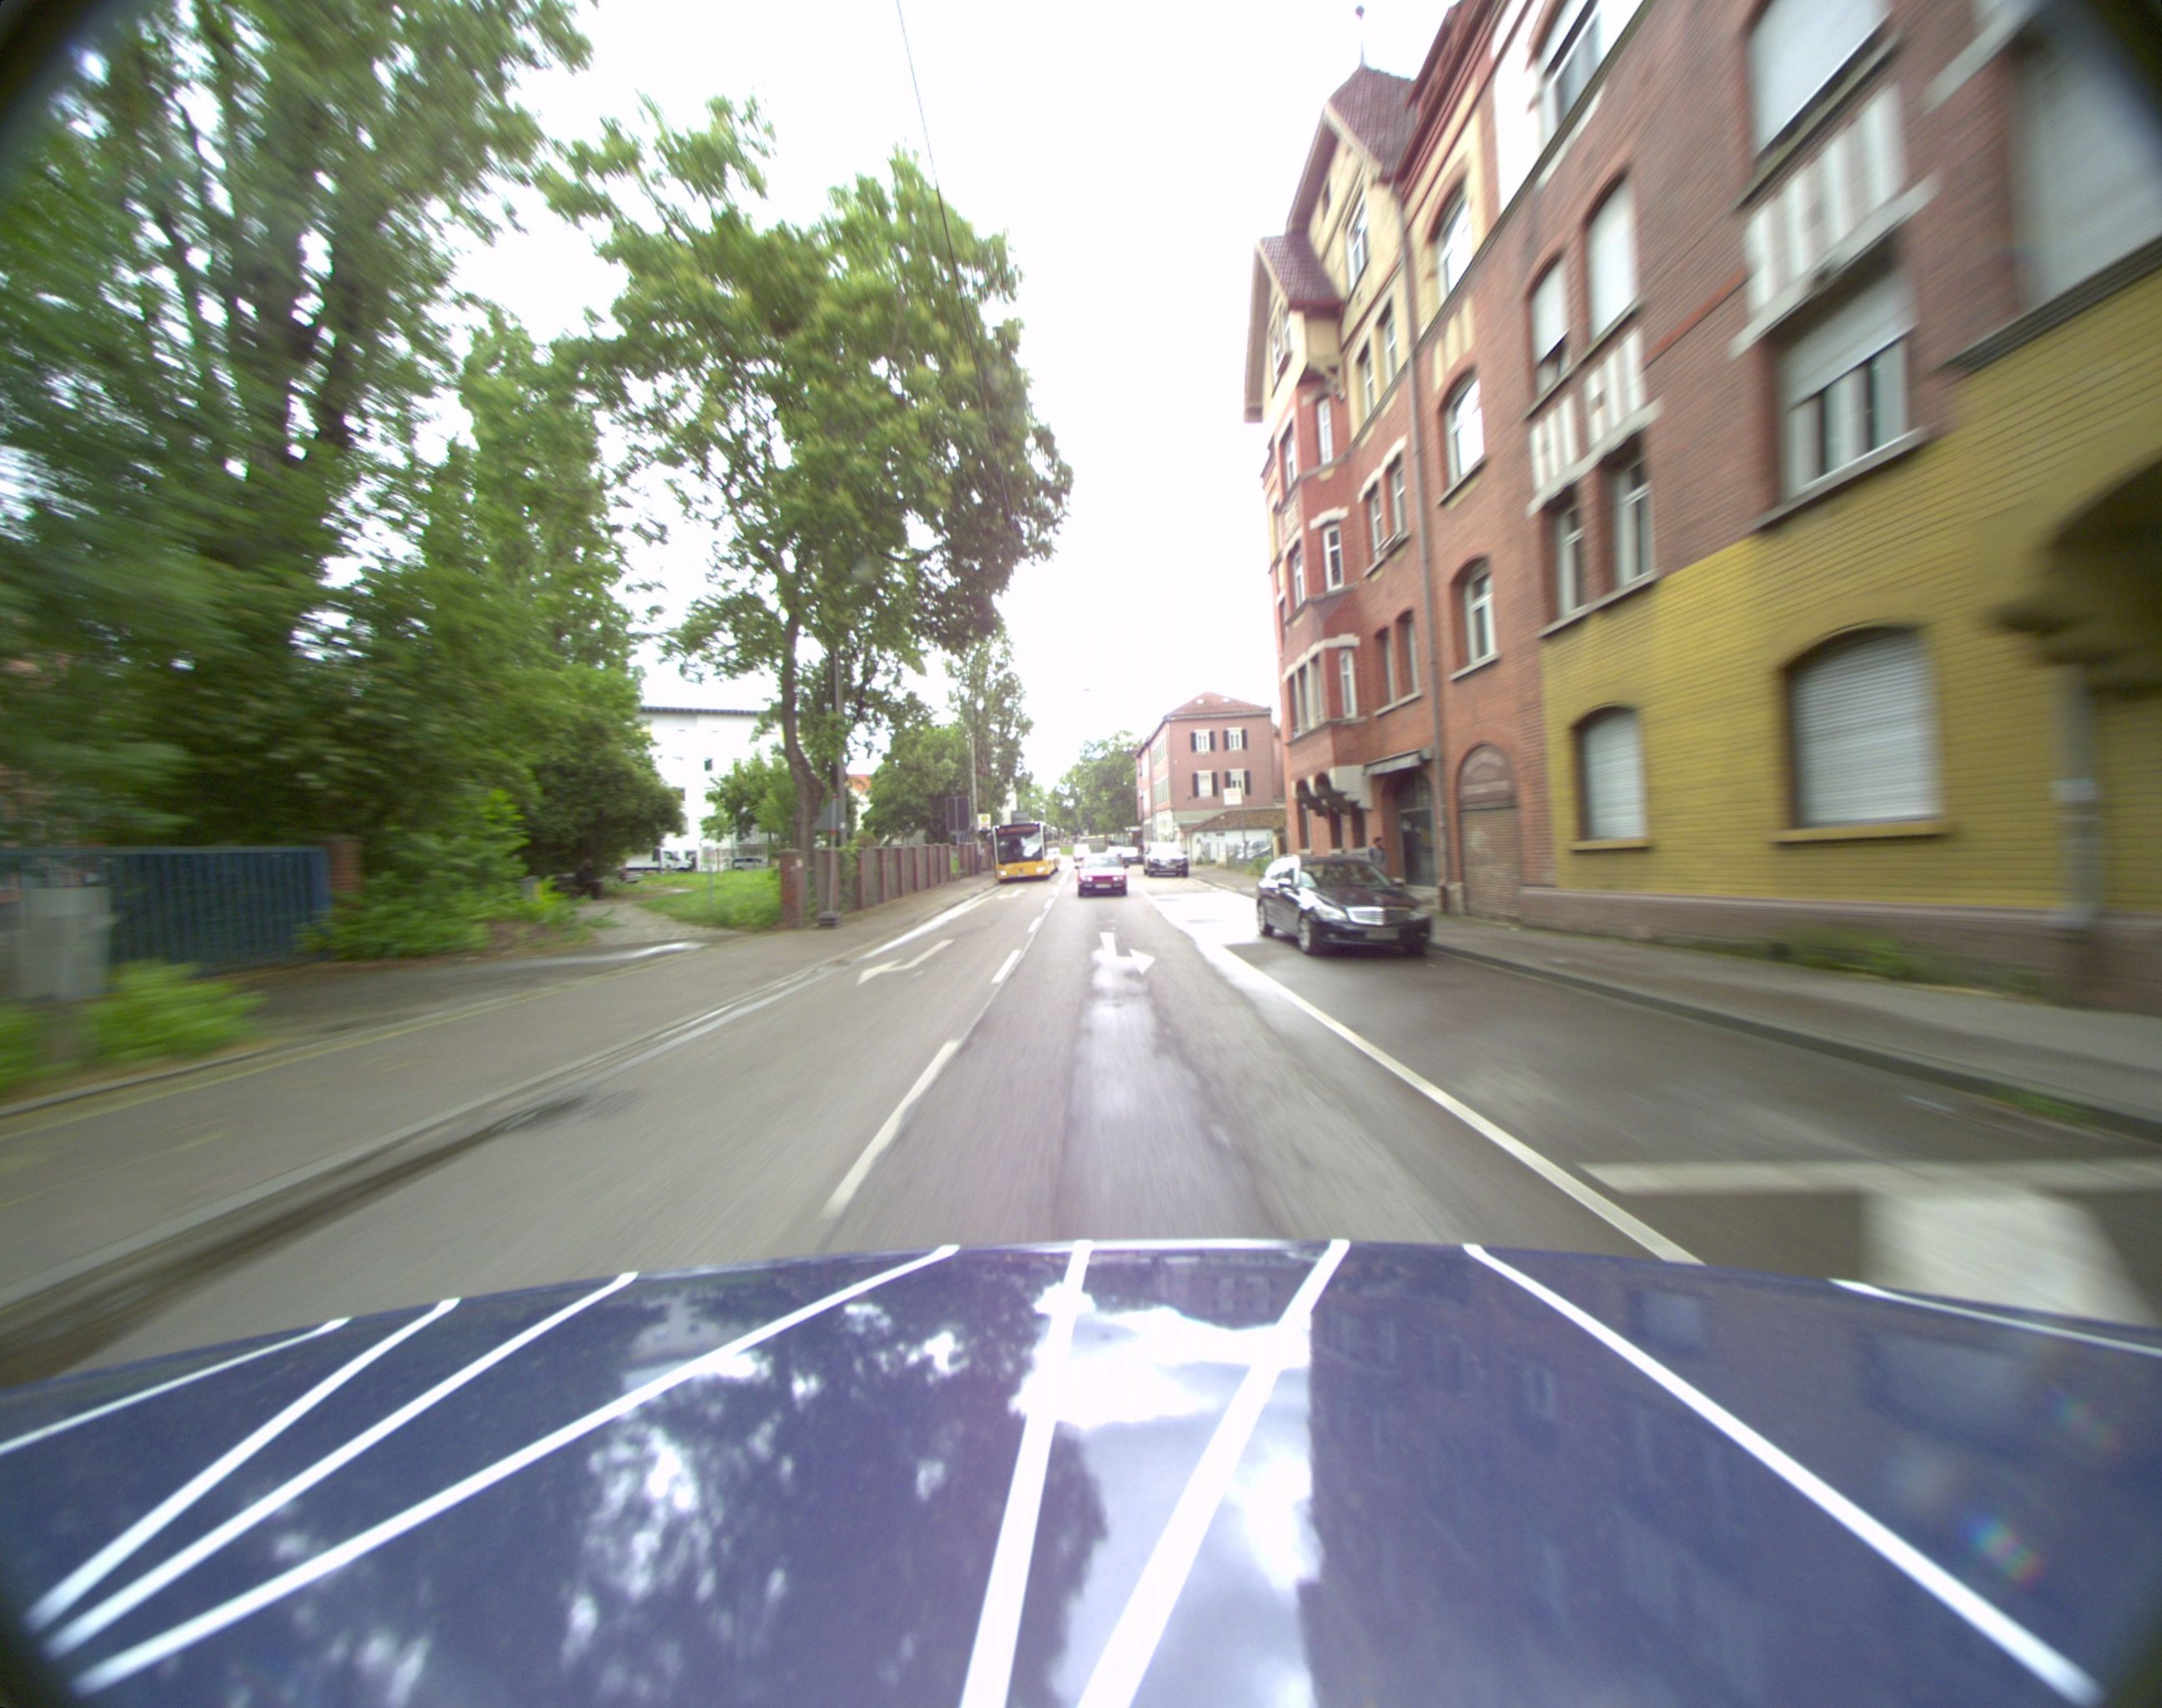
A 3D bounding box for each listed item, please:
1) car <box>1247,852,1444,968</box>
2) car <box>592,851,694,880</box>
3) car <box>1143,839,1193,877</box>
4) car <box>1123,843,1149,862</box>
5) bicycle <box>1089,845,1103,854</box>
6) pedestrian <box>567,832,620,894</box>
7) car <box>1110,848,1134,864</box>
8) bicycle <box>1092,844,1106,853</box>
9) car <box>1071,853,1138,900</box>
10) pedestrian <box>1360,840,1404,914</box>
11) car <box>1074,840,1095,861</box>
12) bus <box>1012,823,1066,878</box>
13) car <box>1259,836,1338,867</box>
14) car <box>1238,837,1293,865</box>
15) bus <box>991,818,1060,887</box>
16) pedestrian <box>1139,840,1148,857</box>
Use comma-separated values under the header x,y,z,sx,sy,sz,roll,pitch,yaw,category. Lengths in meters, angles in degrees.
x,y,z,sx,sy,sz,roll,pitch,yaw,category
4.021,0.785,12.390,1.729,1.477,4.391,-3,-1,2,car
-28.860,0.703,50.255,5.566,1.581,1.995,-3,4,-23,car
4.378,0.185,38.743,1.959,1.724,4.773,-3,0,1,car
4.771,-0.163,65.981,1.883,1.478,4.126,-4,2,0,car
2.079,-0.624,107.092,1.809,1.170,0.723,-6,3,-24,bicycle
-16.521,0.284,25.803,1.135,2.002,1.250,-1,2,-16,pedestrian
4.458,0.206,82.616,1.834,1.447,4.917,-3,2,-5,car
2.626,-0.734,108.258,1.875,1.108,0.577,-5,3,-3,bicycle
0.729,0.701,26.019,1.851,1.414,4.171,-1,0,-4,car
6.857,0.515,17.330,0.661,1.600,0.632,-4,1,1,pedestrian
0.372,-0.419,83.413,2.073,1.776,4.453,-5,5,-1,car
-2.659,-0.288,50.969,2.669,3.118,10.038,-5,1,1,bus
11.233,-0.152,39.426,3.605,1.496,1.853,-1,1,1,car
10.899,-0.202,45.054,2.854,1.556,1.853,-1,1,1,car
-2.802,-0.139,41.331,2.678,3.120,9.216,-5,1,1,bus
6.548,-0.608,79.775,0.763,1.734,0.984,-5,0,-2,pedestrian
